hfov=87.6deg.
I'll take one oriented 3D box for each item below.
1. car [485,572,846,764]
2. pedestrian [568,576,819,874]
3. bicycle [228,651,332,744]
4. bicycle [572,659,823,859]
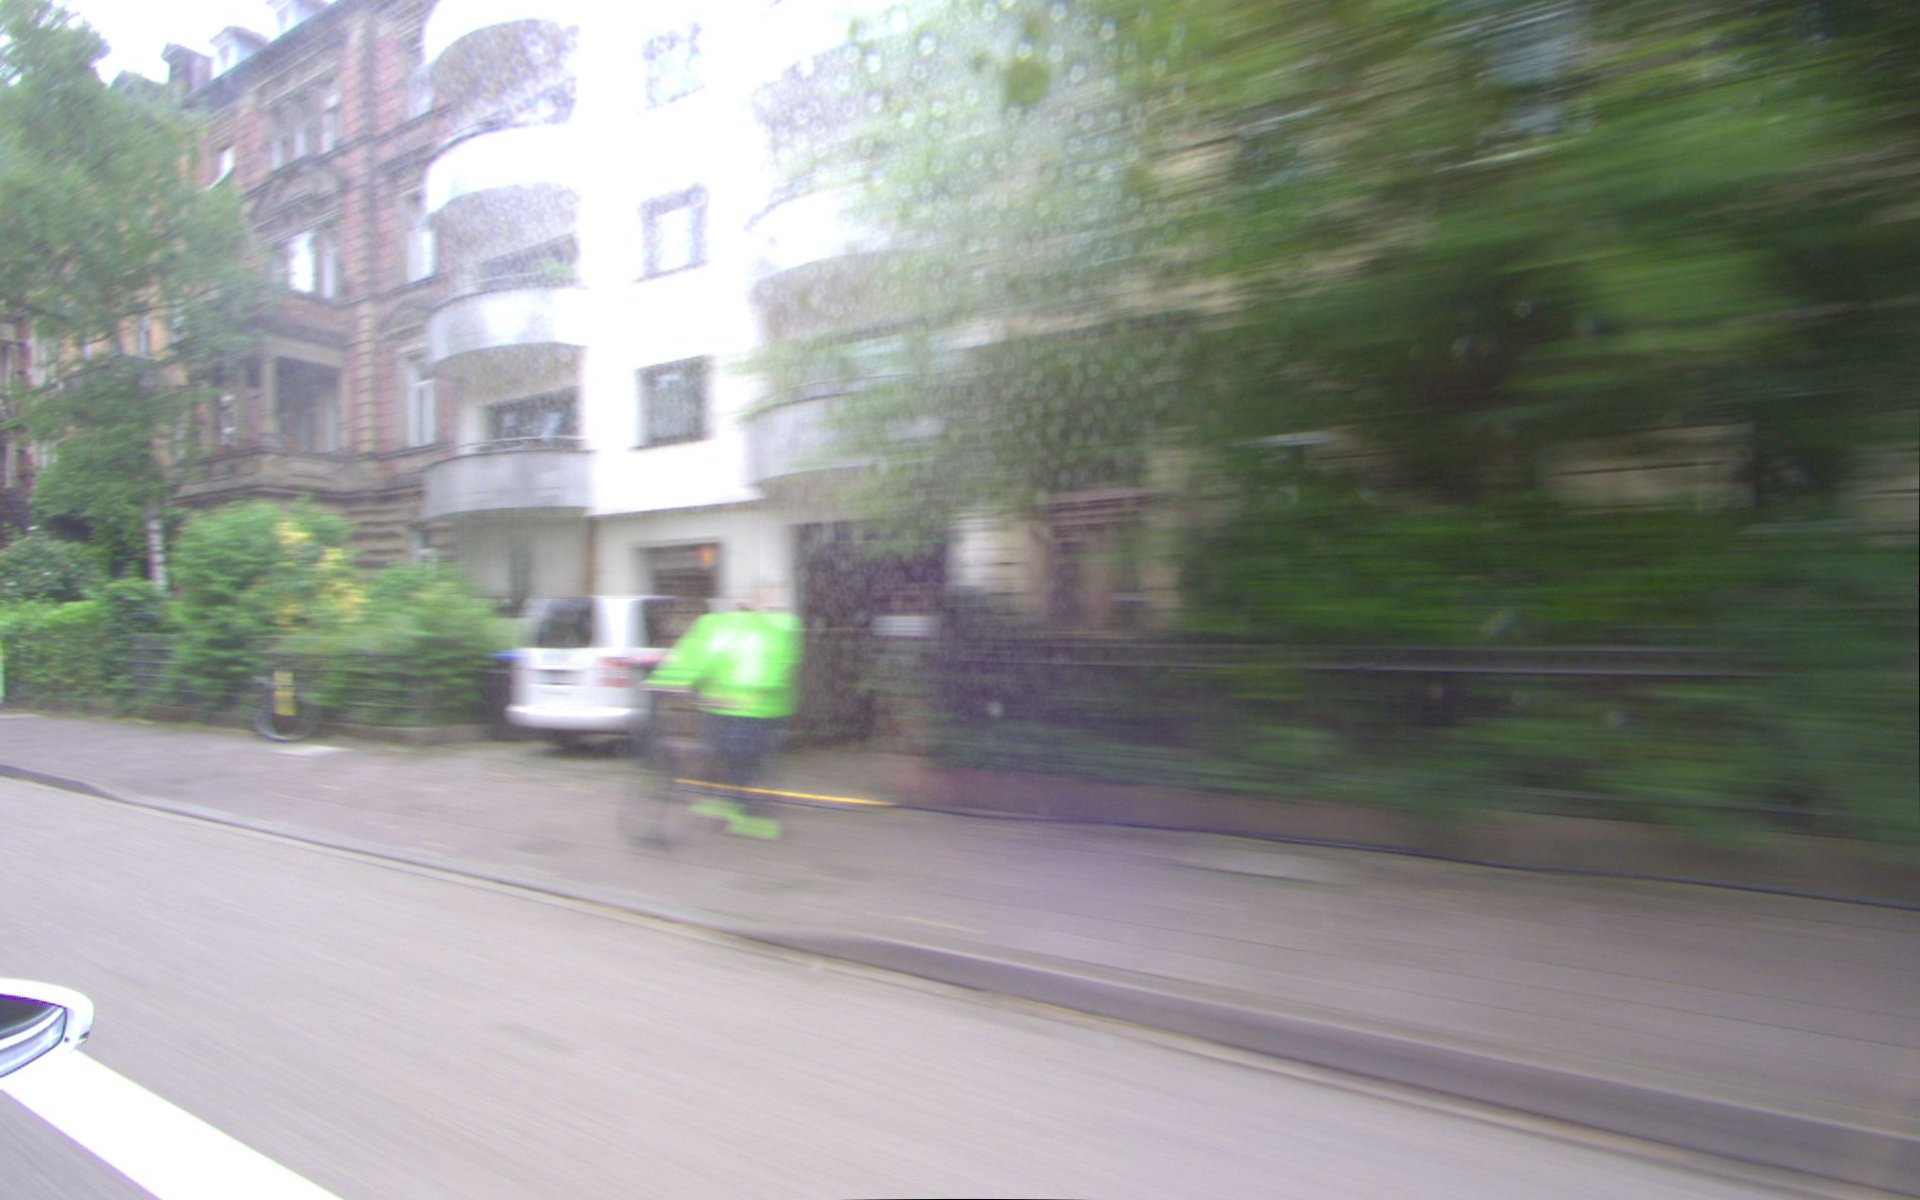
[{"bbox_3d":[-3.307,0.698,11.993,1.783,1.882,3.979,-1,-1,32],"label":"car"},{"bbox_3d":[-1.755,0.744,6.734,1.003,1.757,1.226,0,3,31],"label":"pedestrian"},{"bbox_3d":[-8.465,1.186,12.450,1.510,1.059,0.478,-1,1,32],"label":"bicycle"},{"bbox_3d":[-1.818,1.058,7.253,0.597,1.091,1.837,0,2,30],"label":"bicycle"}]
